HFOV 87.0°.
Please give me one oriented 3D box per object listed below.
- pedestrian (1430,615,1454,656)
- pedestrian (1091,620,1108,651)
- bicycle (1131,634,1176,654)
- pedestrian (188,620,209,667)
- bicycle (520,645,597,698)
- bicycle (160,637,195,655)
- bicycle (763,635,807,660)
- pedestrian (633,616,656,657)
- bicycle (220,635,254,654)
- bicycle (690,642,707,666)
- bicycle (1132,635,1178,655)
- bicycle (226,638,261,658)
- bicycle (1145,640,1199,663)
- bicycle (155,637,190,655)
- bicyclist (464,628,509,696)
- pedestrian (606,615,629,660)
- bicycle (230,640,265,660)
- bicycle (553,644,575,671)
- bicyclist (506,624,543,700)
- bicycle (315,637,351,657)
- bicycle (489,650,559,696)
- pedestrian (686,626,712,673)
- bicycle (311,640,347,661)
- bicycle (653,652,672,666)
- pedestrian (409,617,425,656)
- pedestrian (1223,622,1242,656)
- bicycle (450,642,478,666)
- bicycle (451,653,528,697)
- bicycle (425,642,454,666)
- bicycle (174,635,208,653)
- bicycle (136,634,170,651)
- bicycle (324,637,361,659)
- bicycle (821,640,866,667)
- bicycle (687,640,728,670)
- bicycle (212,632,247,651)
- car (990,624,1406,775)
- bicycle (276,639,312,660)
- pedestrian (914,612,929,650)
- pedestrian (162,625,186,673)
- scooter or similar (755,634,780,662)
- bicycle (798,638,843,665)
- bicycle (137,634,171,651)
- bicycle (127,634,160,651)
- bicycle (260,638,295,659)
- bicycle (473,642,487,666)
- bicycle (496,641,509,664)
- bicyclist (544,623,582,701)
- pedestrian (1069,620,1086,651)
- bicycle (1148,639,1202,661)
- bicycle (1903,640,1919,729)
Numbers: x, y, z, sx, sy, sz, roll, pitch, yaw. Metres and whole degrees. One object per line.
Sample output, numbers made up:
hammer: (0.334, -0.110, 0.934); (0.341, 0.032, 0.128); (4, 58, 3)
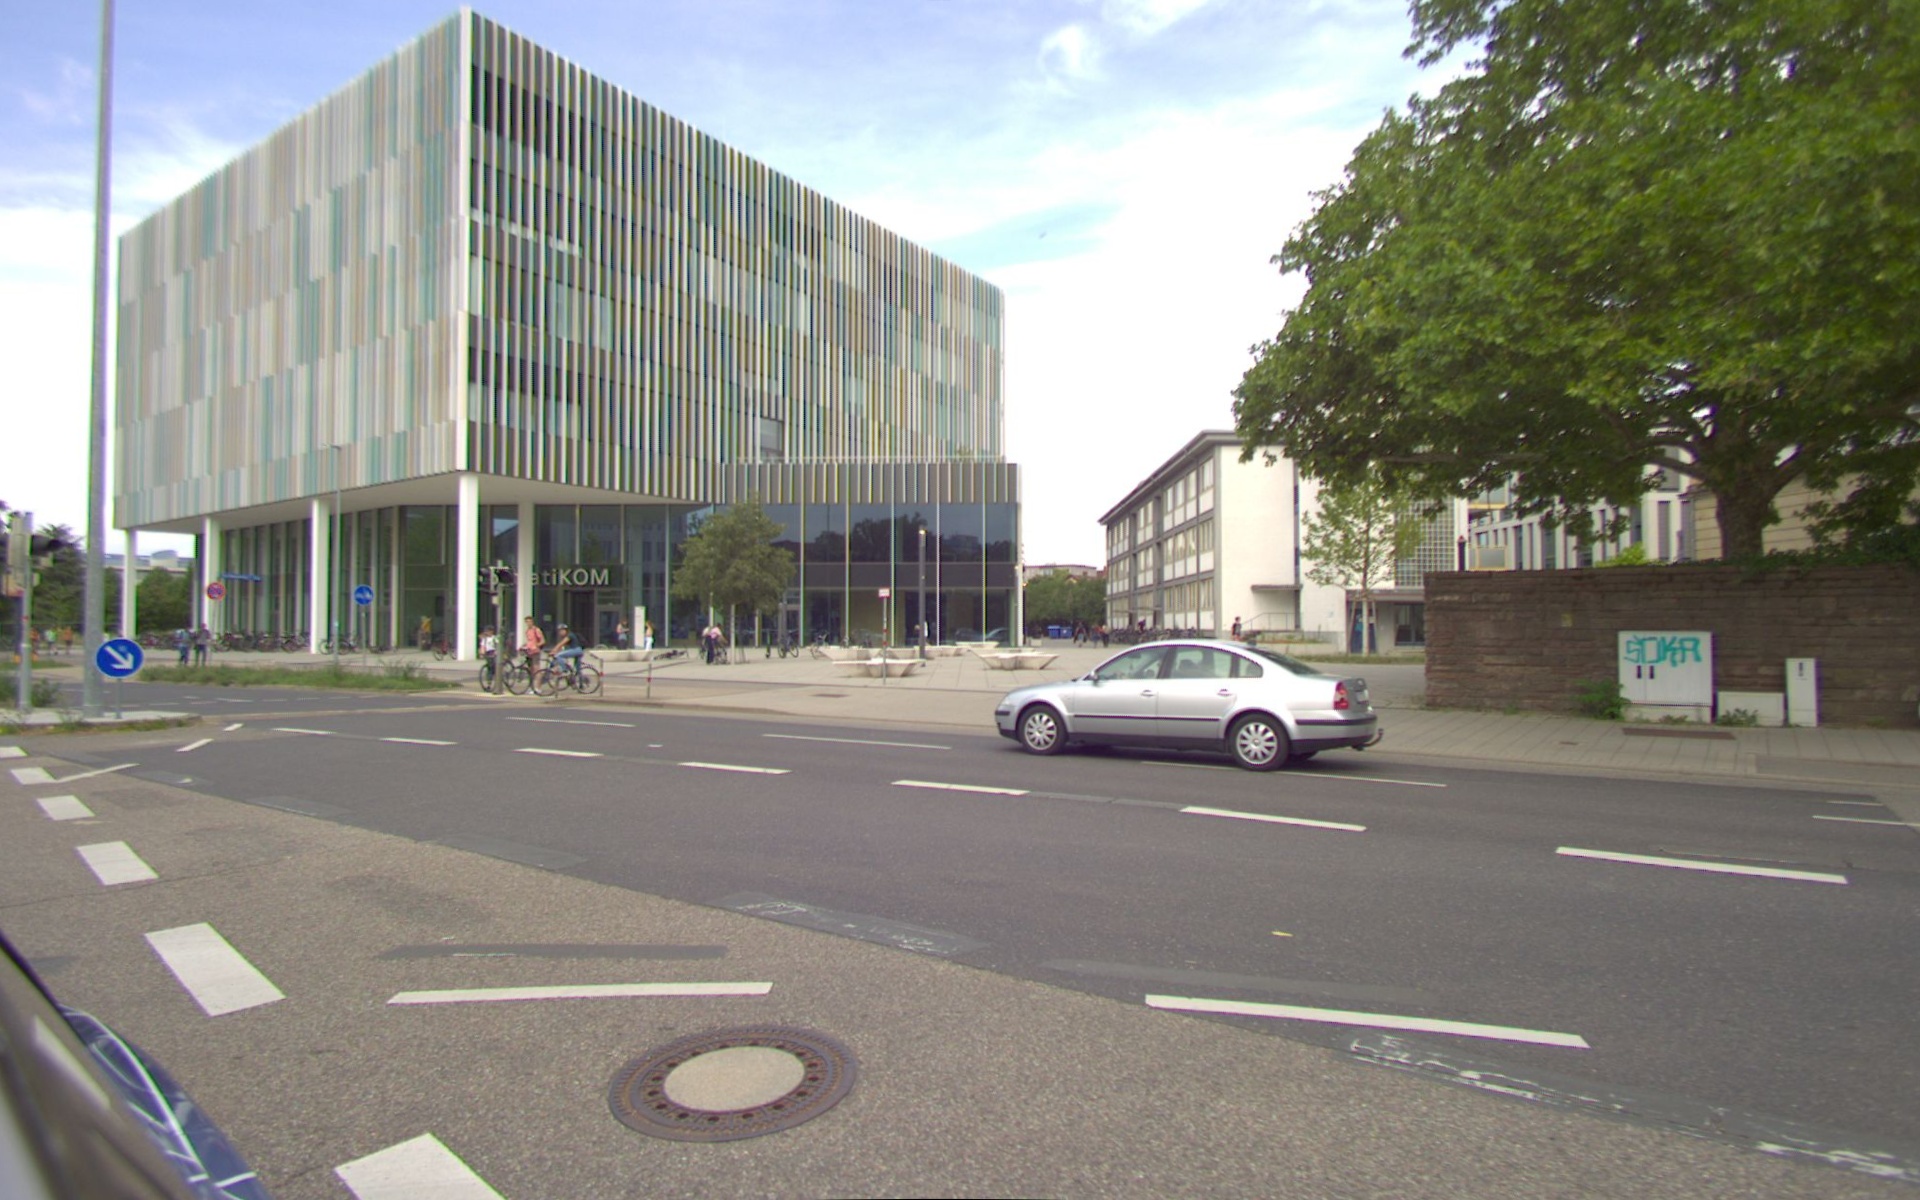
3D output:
pedestrian: (18.850, 1.384, 39.569); (0.657, 1.560, 0.700); (-2, -2, 42)
pedestrian: (8.866, 2.224, 64.286); (0.961, 1.945, 1.070); (-1, -2, 2)
bicycle: (11.915, 2.713, 62.424); (2.637, 1.142, 0.745); (-1, -2, 2)
pedestrian: (-30.291, 1.734, 40.256); (0.623, 1.851, 0.506); (-3, -3, 35)
bicycle: (-9.514, 1.677, 24.044); (0.602, 1.179, 1.882); (-1, -2, 20)
bicycle: (-49.176, 2.897, 63.614); (0.433, 1.031, 1.687); (-1, 0, 30)
bicycle: (-7.569, 2.050, 43.883); (0.668, 1.007, 2.664); (-1, -2, 20)
pedestrian: (-12.511, 1.442, 40.160); (0.670, 1.612, 0.729); (0, -2, 5)
bicycle: (-41.494, 2.543, 58.096); (0.388, 1.031, 1.566); (-1, 0, 30)
bicycle: (-11.277, 2.322, 43.624); (0.613, 0.992, 2.256); (0, -2, -12)
bicycle: (11.797, 2.706, 61.242); (2.637, 1.142, 0.745); (-1, -2, 2)
bicycle: (-40.958, 2.723, 57.867); (0.388, 1.031, 1.566); (-1, 0, 30)
bicycle: (10.994, 2.650, 52.471); (2.637, 1.142, 0.745); (-1, -2, 2)
bicycle: (-49.878, 2.915, 64.093); (0.433, 1.031, 1.687); (-1, 0, 30)
bicyclist: (-12.107, 1.567, 25.883); (0.719, 1.685, 0.723); (-1, 0, 22)
pedestrian: (-13.496, 1.461, 39.899); (0.669, 1.753, 0.730); (0, -2, 2)
bicycle: (-39.699, 2.782, 56.414); (0.388, 1.031, 1.566); (-1, 0, 30)
bicycle: (-17.120, 2.472, 43.752); (0.388, 1.037, 1.547); (-1, 0, -2)
bicyclist: (-10.693, 1.508, 24.836); (0.558, 1.820, 0.597); (-1, 0, 22)
bicycle: (-31.217, 2.335, 50.417); (0.392, 0.944, 1.530); (-1, 0, 30)
bicycle: (-10.686, 1.778, 24.841); (0.567, 0.996, 1.680); (-1, 0, 21)
pedestrian: (-8.967, 1.683, 34.754); (0.573, 1.593, 0.644); (-2, -2, 40)
bicycle: (-31.716, 2.525, 50.878); (0.388, 0.944, 1.530); (-1, 0, 30)
bicycle: (-12.715, 2.532, 43.272); (0.613, 0.526, 2.256); (0, -2, -12)
pedestrian: (-28.375, 1.904, 52.920); (0.623, 2.059, 0.506); (-3, -3, 34)
pedestrian: (12.486, 1.782, 46.345); (0.588, 1.560, 0.659); (0, -2, -12)
bicycle: (-21.906, 2.388, 44.713); (0.389, 0.944, 1.597); (-1, 0, 2)
bicycle: (-12.056, 1.904, 25.996); (0.723, 0.996, 1.809); (-1, 0, 21)
bicycle: (-22.807, 2.347, 44.385); (0.389, 0.944, 1.610); (-1, 0, 2)
bicycle: (-47.730, 2.728, 62.821); (0.388, 1.031, 1.687); (-1, 0, 30)
bicycle: (-53.380, 2.806, 66.941); (0.433, 1.031, 1.687); (-1, 0, 30)
bicycle: (-30.480, 2.342, 49.943); (0.398, 1.002, 1.530); (-1, 0, 31)
bicycle: (-4.967, 2.270, 43.274); (0.791, 1.098, 2.664); (-1, -2, 20)
bicycle: (-8.827, 1.913, 35.380); (1.746, 1.006, 0.434); (-2, -2, 39)
bicycle: (-42.003, 2.387, 58.238); (0.388, 1.031, 1.566); (-1, -4, 30)
car: (2.721, 1.058, 12.138); (4.536, 1.500, 1.745); (-2, -2, 36)
bicycle: (-35.444, 2.612, 53.882); (0.388, 1.031, 1.566); (-1, 0, 30)
pedestrian: (-1.867, 1.485, 48.582); (0.626, 1.792, 0.598); (0, -2, -9)
pedestrian: (-30.639, 1.908, 39.461); (0.771, 1.851, 0.506); (-3, -3, 35)
scooter or similar: (-8.447, 2.089, 44.477); (0.588, 1.207, 2.123); (-1, -2, 3)
bicycle: (-6.016, 2.225, 43.847); (0.791, 1.098, 2.664); (-1, -2, 20)
bicycle: (-52.765, 2.793, 66.291); (0.433, 1.031, 1.687); (-1, 0, 30)
bicycle: (-54.632, 2.827, 67.731); (0.433, 1.031, 1.687); (-1, 0, 30)
bicycle: (-37.045, 2.627, 54.938); (0.388, 1.031, 1.566); (-1, 0, 30)
bicycle: (-20.793, 2.337, 43.860); (0.387, 0.944, 1.603); (-1, 0, -21)
bicycle: (-19.880, 2.278, 43.989); (0.387, 0.944, 1.603); (-1, 0, -21)
bicyclist: (-9.462, 1.458, 24.119); (0.558, 1.820, 0.597); (-1, 0, 22)
pedestrian: (7.411, 2.239, 63.823); (0.961, 1.945, 1.070); (-1, -2, 2)
bicycle: (11.385, 2.654, 53.654); (2.637, 1.142, 0.745); (-1, -2, 2)
bicycle: (13.544, 1.088, 12.890); (2.159, 1.134, 0.573); (-2, 1, 34)
